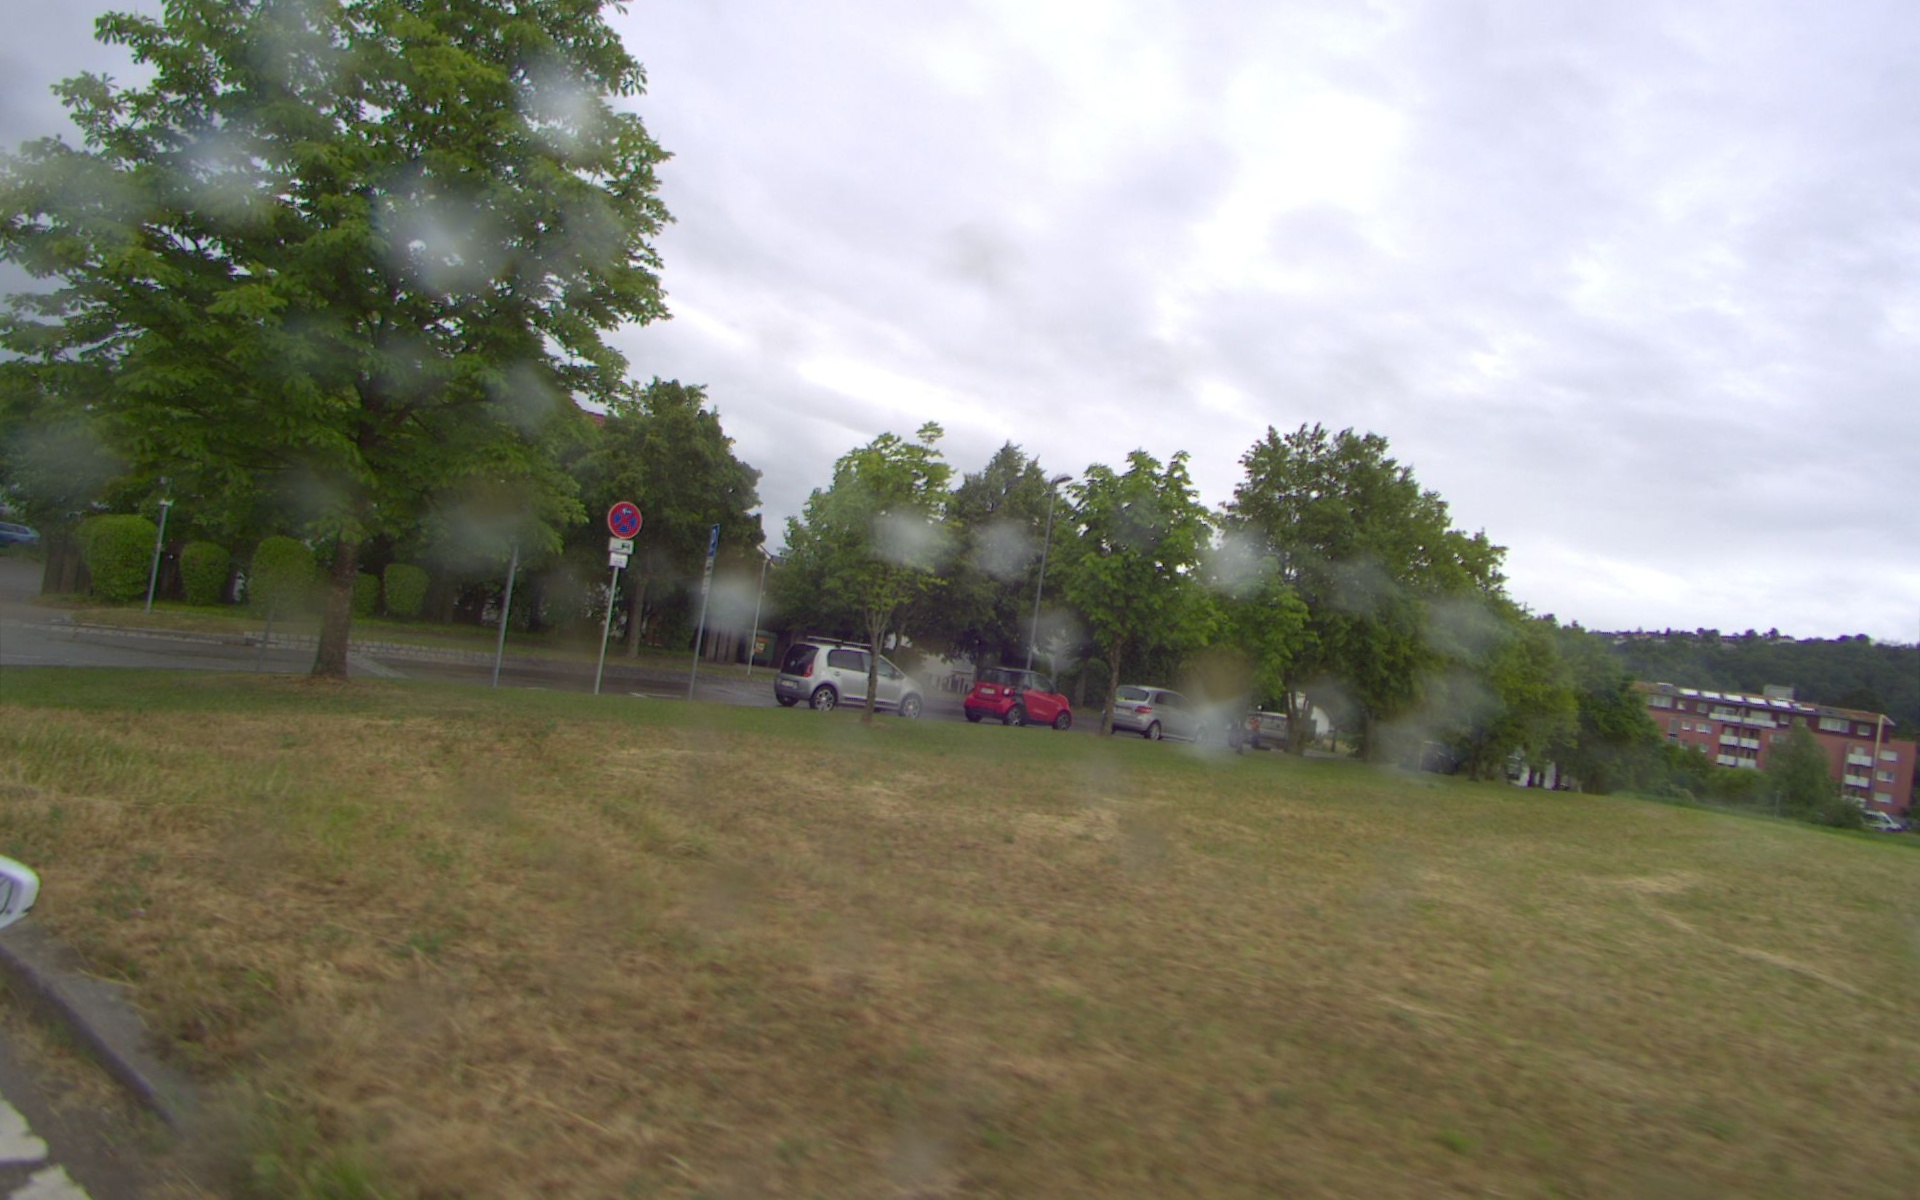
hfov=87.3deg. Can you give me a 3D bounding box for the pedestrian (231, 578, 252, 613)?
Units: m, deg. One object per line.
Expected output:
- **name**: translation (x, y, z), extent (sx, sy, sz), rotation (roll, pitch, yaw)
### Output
- **pedestrian**: translation (-26.764, -0.164, 37.488), extent (0.422, 1.244, 0.420), rotation (7, -2, -22)

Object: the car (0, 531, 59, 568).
- **car**: translation (-51.046, -2.861, 53.719), extent (3.965, 1.584, 1.893), rotation (10, -4, -33)

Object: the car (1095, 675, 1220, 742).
- **car**: translation (6.140, 3.358, 31.021), extent (1.828, 1.568, 3.973), rotation (5, -5, 44)

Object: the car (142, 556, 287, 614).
- **car**: translation (-28.015, -0.551, 37.964), extent (3.946, 1.683, 1.771), rotation (7, -2, -23)

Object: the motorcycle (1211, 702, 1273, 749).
- **motorcycle**: translation (9.531, 4.254, 33.958), extent (0.958, 1.316, 2.256), rotation (6, -4, 44)

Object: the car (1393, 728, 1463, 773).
- **car**: translation (23.042, 7.431, 49.465), extent (1.935, 1.623, 3.990), rotation (6, -6, 42)

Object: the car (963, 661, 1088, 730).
- **car**: translation (1.755, 2.556, 26.710), extent (2.993, 1.451, 1.537), rotation (10, -4, -41)

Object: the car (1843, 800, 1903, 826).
- **car**: translation (110.673, 25.840, 122.065), extent (5.208, 2.036, 1.992), rotation (4, -3, 41)

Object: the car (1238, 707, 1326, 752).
- **car**: translation (11.830, 4.764, 36.881), extent (1.711, 1.295, 3.314), rotation (5, -4, 43)

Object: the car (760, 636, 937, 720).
- **car**: translation (-2.471, 1.780, 22.680), extent (3.530, 1.496, 1.662), rotation (9, -4, -41)
